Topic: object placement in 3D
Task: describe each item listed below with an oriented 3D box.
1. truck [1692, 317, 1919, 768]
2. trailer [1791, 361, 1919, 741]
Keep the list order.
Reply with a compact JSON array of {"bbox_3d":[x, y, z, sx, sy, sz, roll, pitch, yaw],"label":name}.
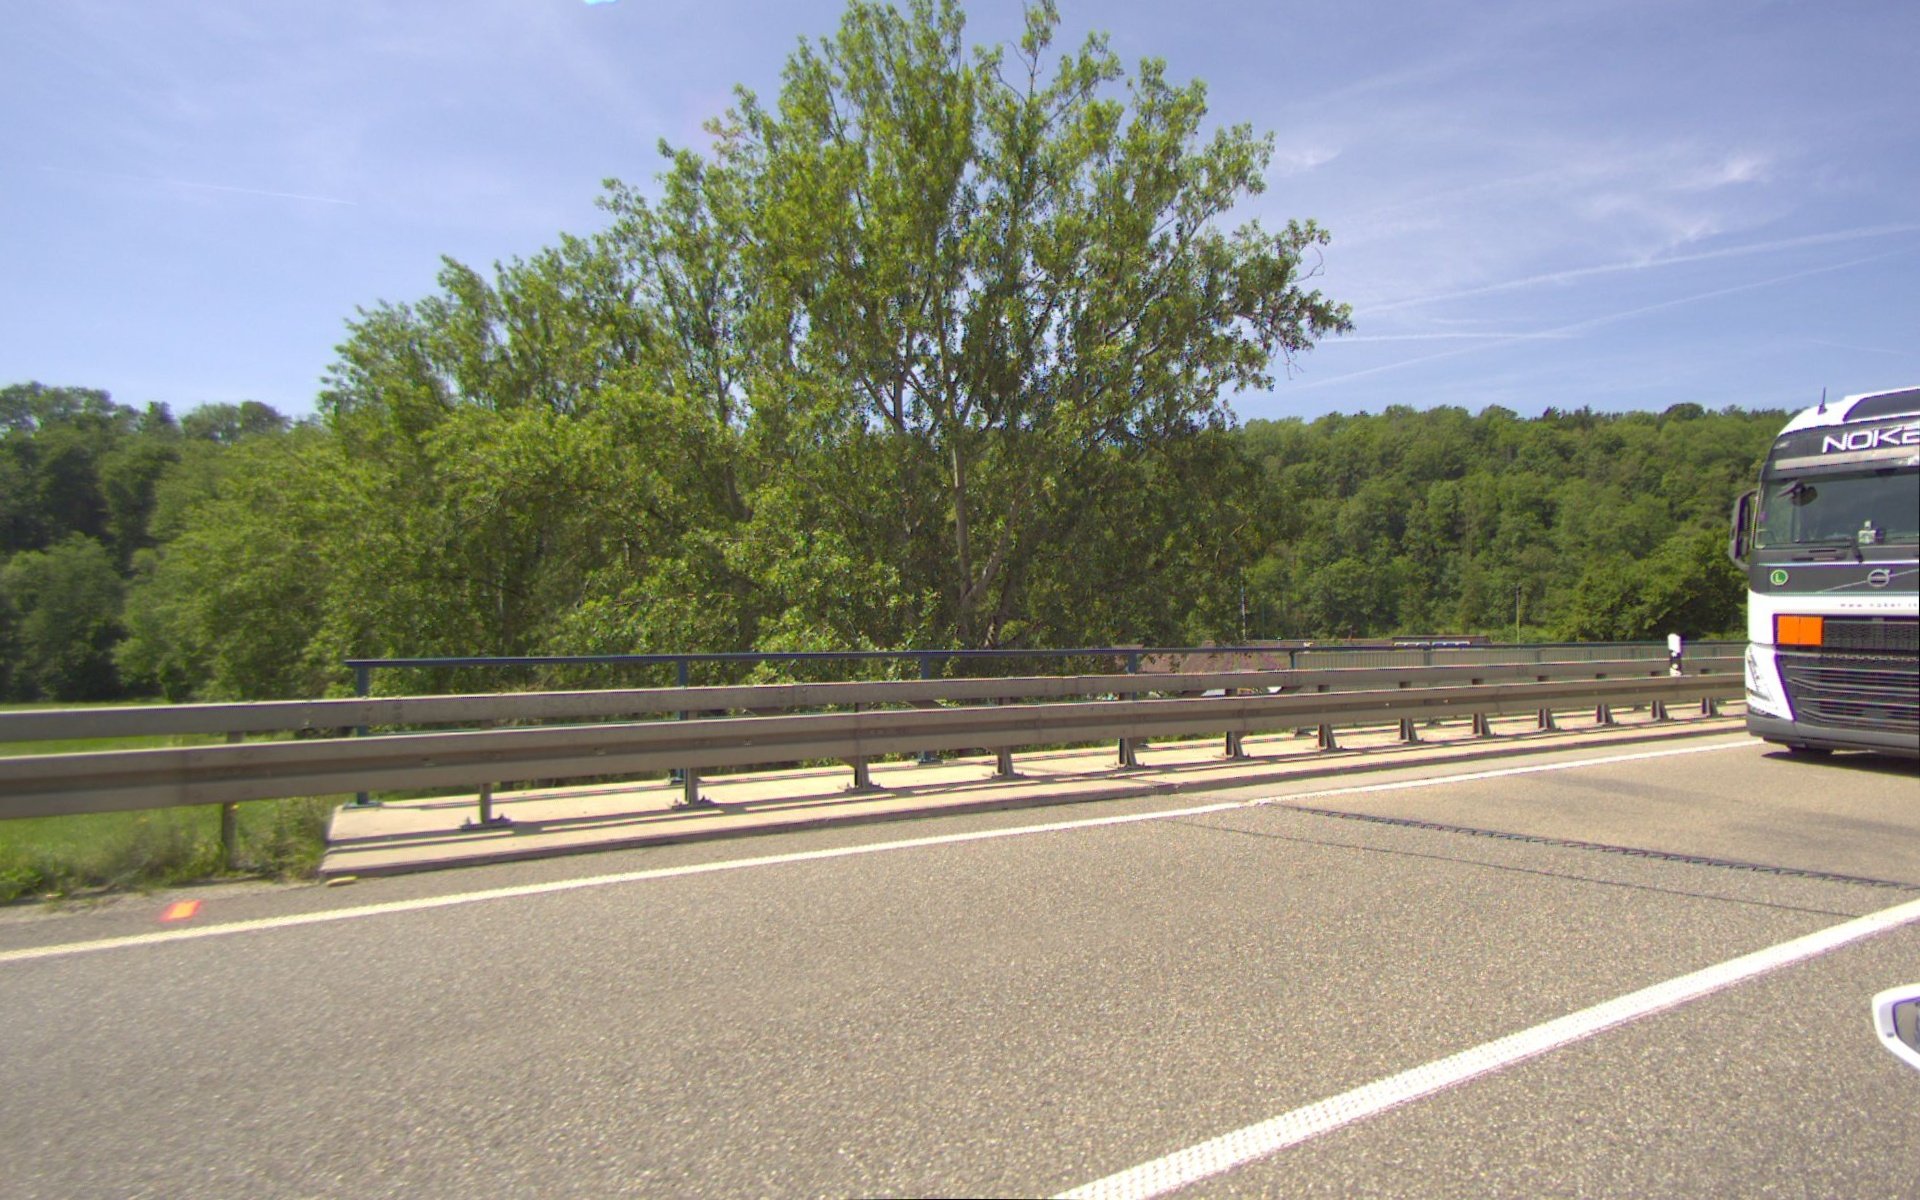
[{"bbox_3d":[11.488,-0.521,11.332,6.253,4.216,2.834,0,0,-29],"label":"truck"},{"bbox_3d":[17.090,-0.453,14.438,14.318,4.244,2.841,1,0,-29],"label":"trailer"}]
